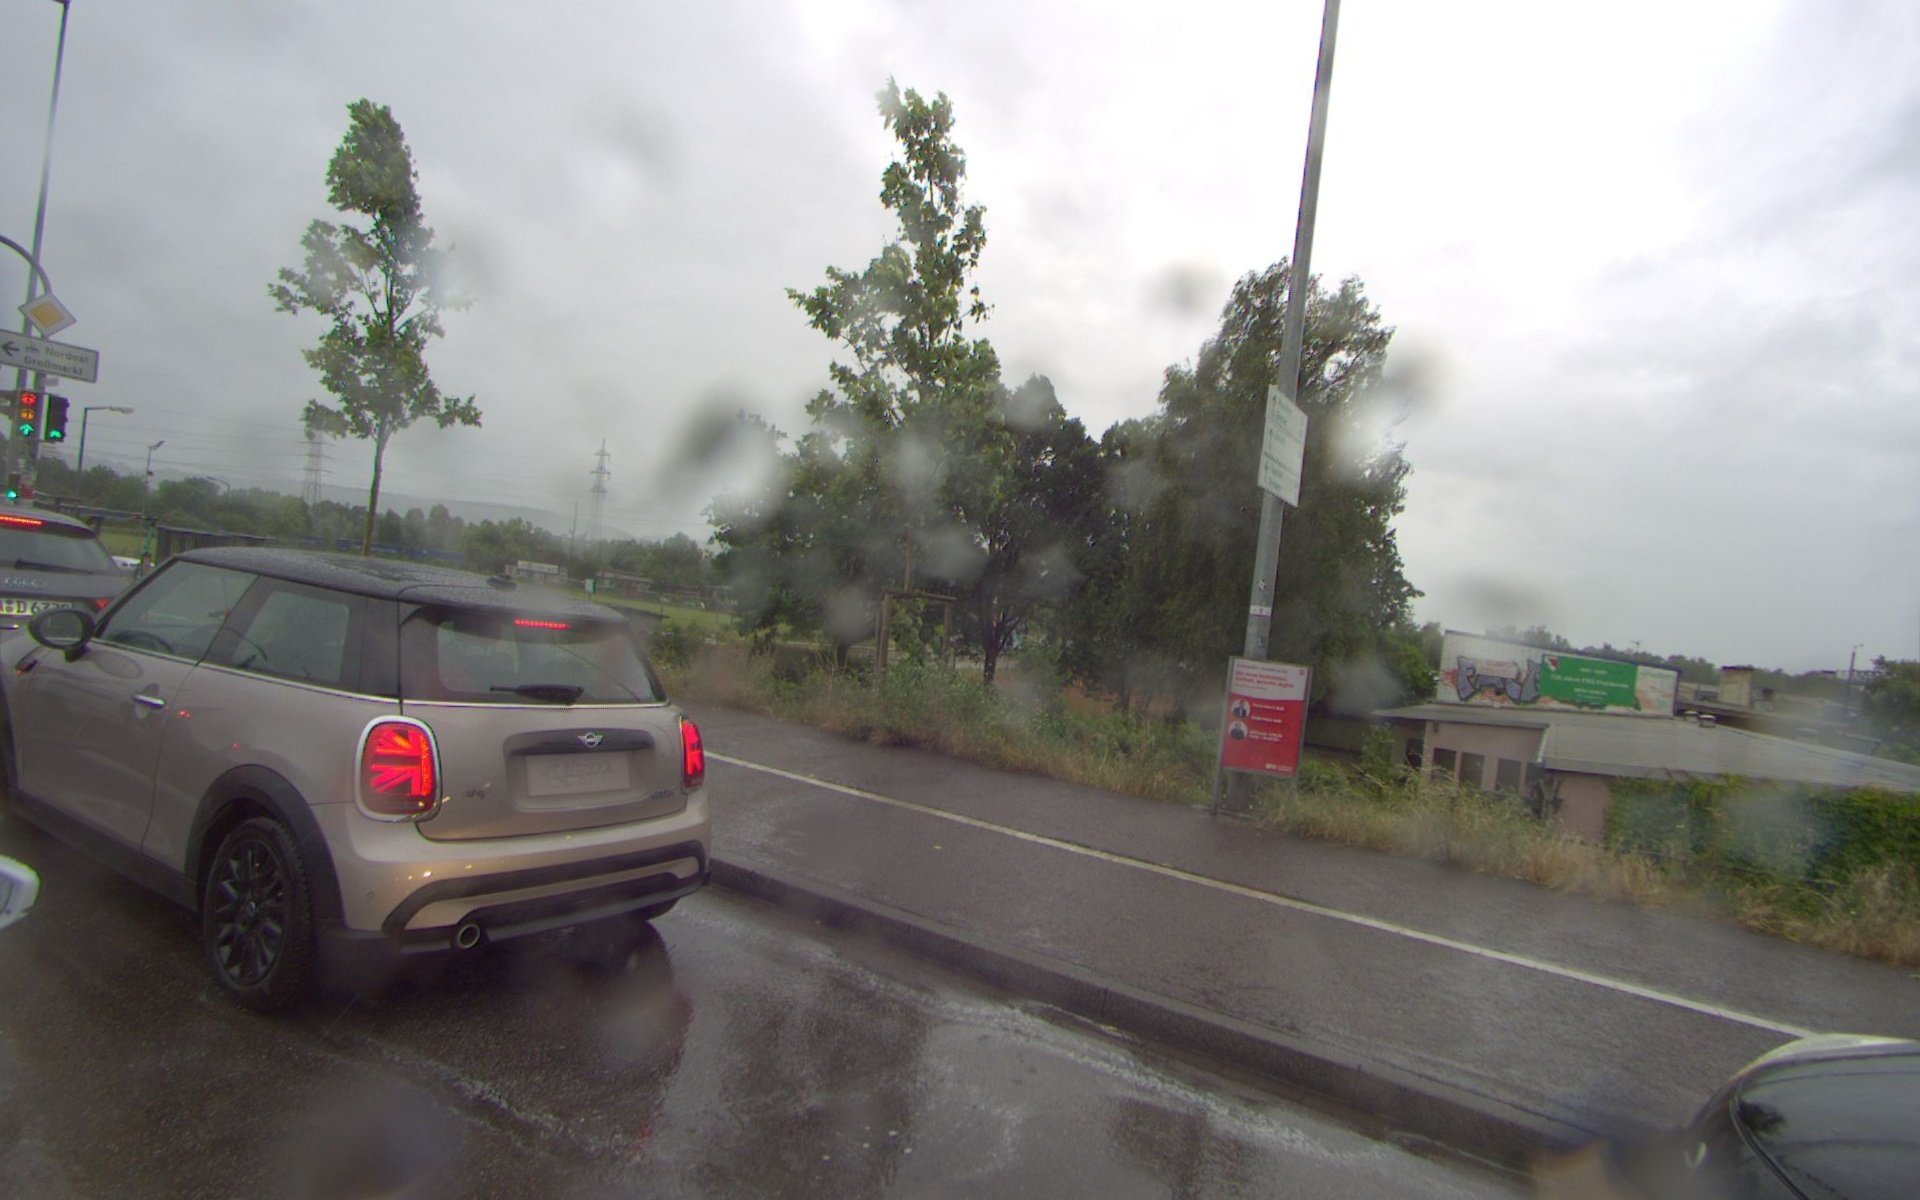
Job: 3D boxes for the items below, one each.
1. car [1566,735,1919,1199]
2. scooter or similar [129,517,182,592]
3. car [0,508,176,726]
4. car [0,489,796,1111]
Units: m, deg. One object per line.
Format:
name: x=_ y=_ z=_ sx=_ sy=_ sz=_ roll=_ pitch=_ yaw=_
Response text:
car: x=2.797 y=1.189 z=1.060 sx=3.563 sy=1.445 sz=1.632 roll=7 pitch=-1 yaw=31
scooter or similar: x=-13.628 y=-0.771 z=17.038 sx=1.167 sy=1.171 sz=0.246 roll=6 pitch=-1 yaw=33
car: x=-7.492 y=-0.053 z=7.240 sx=3.563 sy=1.360 sz=1.632 roll=6 pitch=-2 yaw=31
car: x=-2.716 y=0.493 z=4.310 sx=3.563 sy=1.525 sz=1.717 roll=7 pitch=-2 yaw=31
